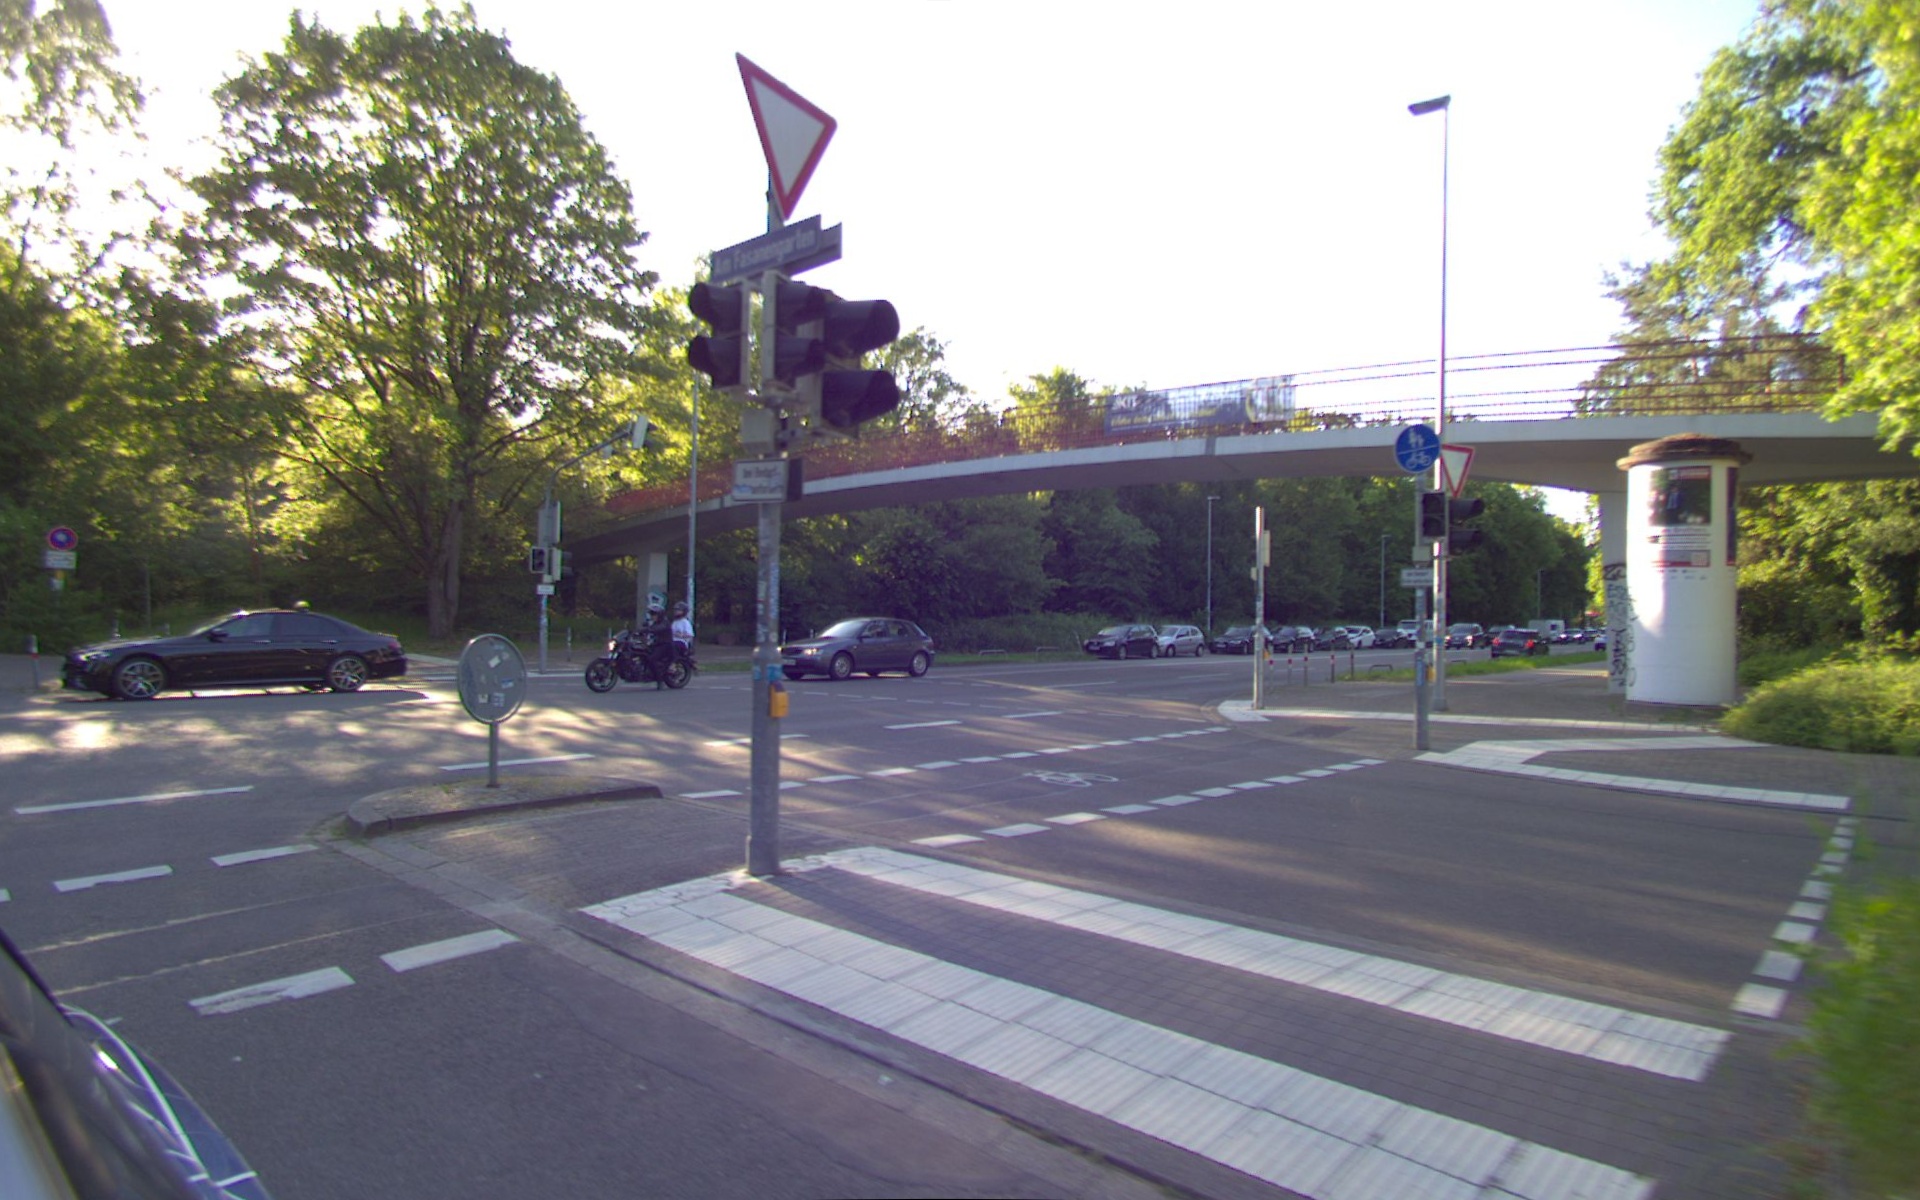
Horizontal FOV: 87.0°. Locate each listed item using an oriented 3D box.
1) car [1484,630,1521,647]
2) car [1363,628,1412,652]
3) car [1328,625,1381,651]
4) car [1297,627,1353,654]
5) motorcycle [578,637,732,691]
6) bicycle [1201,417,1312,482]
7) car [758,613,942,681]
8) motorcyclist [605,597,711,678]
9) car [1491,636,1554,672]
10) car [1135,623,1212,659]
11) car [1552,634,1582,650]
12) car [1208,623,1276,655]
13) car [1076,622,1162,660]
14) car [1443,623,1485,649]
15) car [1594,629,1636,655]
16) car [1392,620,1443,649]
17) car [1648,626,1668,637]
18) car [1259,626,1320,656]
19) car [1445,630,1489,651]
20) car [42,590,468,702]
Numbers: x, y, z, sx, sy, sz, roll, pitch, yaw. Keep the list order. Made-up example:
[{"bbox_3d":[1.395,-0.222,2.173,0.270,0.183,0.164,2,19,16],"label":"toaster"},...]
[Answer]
[{"bbox_3d":[42.095,2.994,78.479,1.736,1.253,3.945,-1,-2,41],"label":"car"},{"bbox_3d":[28.514,2.667,67.431,1.737,1.519,4.335,1,-1,41],"label":"car"},{"bbox_3d":[24.696,2.367,63.253,1.737,1.519,4.335,1,-1,41],"label":"car"},{"bbox_3d":[21.518,2.361,59.592,1.737,1.519,4.168,1,-1,41],"label":"car"},{"bbox_3d":[-5.636,1.152,18.859,2.672,0.920,0.809,2,-2,-44],"label":"motorcycle"},{"bbox_3d":[7.486,-3.776,25.647,2.450,1.383,1.036,4,2,44],"label":"bicycle"},{"bbox_3d":[-2.427,1.045,22.999,1.868,1.400,3.945,-2,-2,41],"label":"car"},{"bbox_3d":[-5.636,0.665,18.904,1.139,1.438,1.544,-1,0,44],"label":"motorcyclist"},{"bbox_3d":[25.511,2.415,45.870,1.713,1.464,3.589,4,1,42],"label":"car"},{"bbox_3d":[9.762,1.827,46.067,1.721,1.519,3.921,1,-1,41],"label":"car"},{"bbox_3d":[60.367,4.153,100.657,1.895,1.581,4.336,1,-1,41],"label":"car"},{"bbox_3d":[14.292,1.973,51.204,1.737,1.519,4.096,1,-1,41],"label":"car"},{"bbox_3d":[6.721,1.690,42.461,1.695,1.519,4.069,-1,-2,41],"label":"car"},{"bbox_3d":[40.752,2.883,81.789,1.952,1.991,4.335,1,-1,41],"label":"car"},{"bbox_3d":[42.070,2.687,64.940,1.682,1.535,3.847,2,0,41],"label":"car"},{"bbox_3d":[32.801,2.474,72.458,2.018,1.991,4.972,1,-1,41],"label":"car"},{"bbox_3d":[99.038,4.491,143.632,1.895,1.511,4.336,1,-1,41],"label":"car"},{"bbox_3d":[18.023,2.235,55.285,1.705,1.519,4.080,1,-1,41],"label":"car"},{"bbox_3d":[30.938,2.451,61.678,1.465,1.253,3.945,-1,-2,41],"label":"car"},{"bbox_3d":[-12.006,0.731,17.720,1.999,1.647,5.807,0,-1,40],"label":"car"}]
